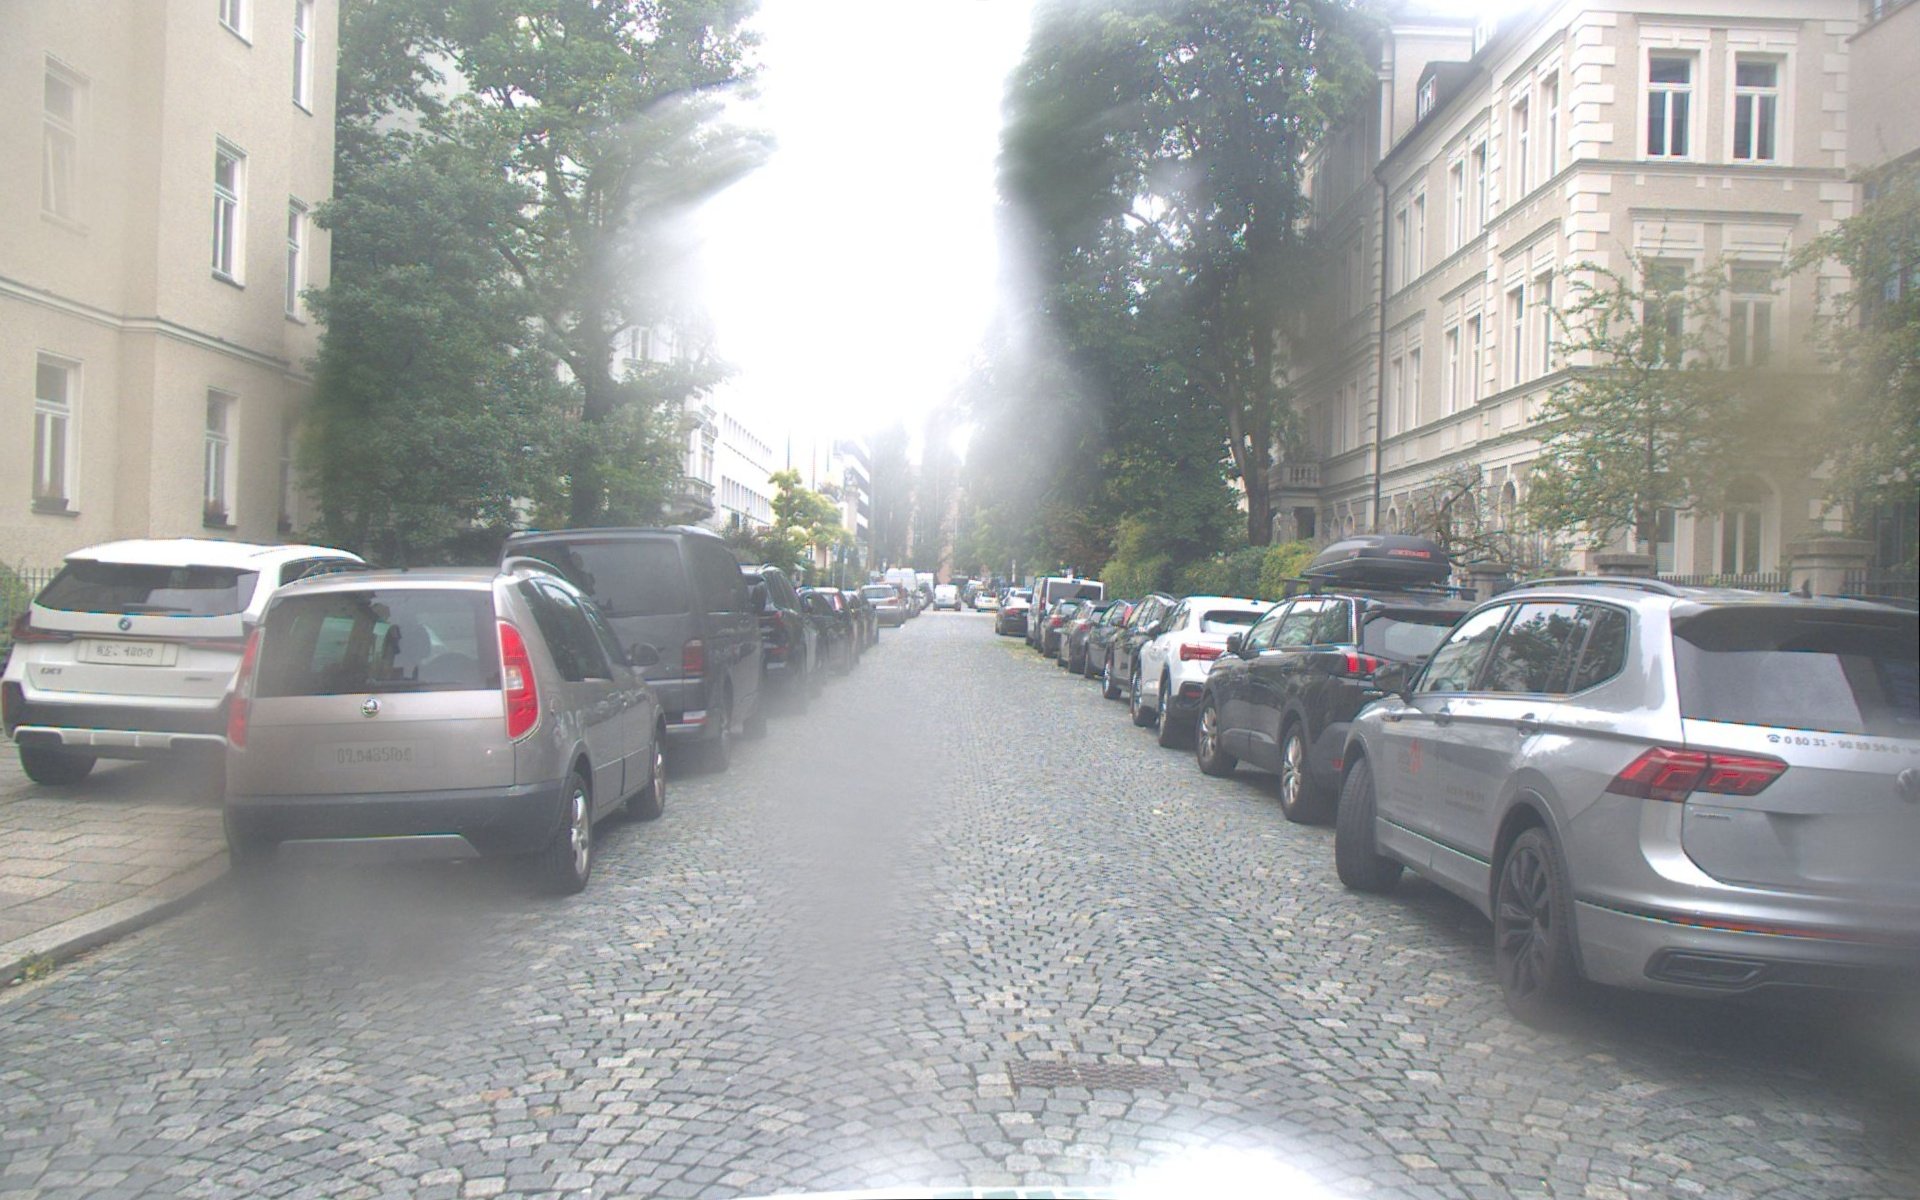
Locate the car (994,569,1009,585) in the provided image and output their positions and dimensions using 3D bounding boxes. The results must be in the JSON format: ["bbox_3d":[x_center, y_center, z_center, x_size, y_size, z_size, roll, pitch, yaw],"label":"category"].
[{"bbox_3d":[5.591,-3.071,222.606,1.953,2.049,4.000,2,0,0],"label":"car"}]

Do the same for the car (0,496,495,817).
[{"bbox_3d":[-5.029,0.311,12.100,1.906,1.765,4.656,5,0,-1],"label":"car"}]

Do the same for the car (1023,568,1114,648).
[{"bbox_3d":[2.944,0.187,45.853,1.836,1.961,5.162,4,0,-2],"label":"car"}]

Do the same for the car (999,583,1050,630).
[{"bbox_3d":[2.676,0.245,69.700,1.835,1.763,4.592,5,0,-1],"label":"car"}]

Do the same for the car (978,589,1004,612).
[{"bbox_3d":[2.212,0.037,119.699,1.753,1.547,4.000,2,0,0],"label":"car"}]

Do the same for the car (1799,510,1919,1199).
[{"bbox_3d":[3.322,0.756,2.195,1.836,1.764,4.658,6,0,-1],"label":"car"}]

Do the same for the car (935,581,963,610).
[{"bbox_3d":[-0.780,-0.329,118.897,1.953,2.049,4.000,2,0,0],"label":"car"}]

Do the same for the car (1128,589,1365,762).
[{"bbox_3d":[2.999,0.714,18.297,1.835,1.516,4.618,4,1,1],"label":"car"}]

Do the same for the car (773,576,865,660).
[{"bbox_3d":[-2.650,0.309,31.680,1.629,1.469,4.169,1,0,-3],"label":"car"}]

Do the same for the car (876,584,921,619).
[{"bbox_3d":[-3.066,0.080,83.567,1.834,1.607,4.209,4,0,3],"label":"car"}]

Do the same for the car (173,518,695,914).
[{"bbox_3d":[-2.725,0.498,9.691,1.828,1.765,4.401,-1,1,-3],"label":"car"}]

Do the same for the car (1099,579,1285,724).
[{"bbox_3d":[3.138,0.637,23.276,1.835,1.698,4.657,4,0,0],"label":"car"}]

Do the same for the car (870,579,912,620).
[{"bbox_3d":[-3.226,-0.045,78.098,1.835,1.807,4.121,-2,0,-1],"label":"car"}]

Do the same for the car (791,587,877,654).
[{"bbox_3d":[-2.908,0.429,38.868,1.747,1.442,4.496,-1,1,-2],"label":"car"}]

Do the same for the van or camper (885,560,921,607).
[{"bbox_3d":[-3.363,-0.964,98.509,1.953,2.698,4.000,-1,0,0],"label":"van or camper"}]

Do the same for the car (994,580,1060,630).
[{"bbox_3d":[2.309,0.152,58.067,1.836,1.529,4.509,4,0,-2],"label":"car"}]

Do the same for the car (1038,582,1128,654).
[{"bbox_3d":[2.939,0.413,40.378,1.800,1.516,4.422,4,0,0],"label":"car"}]

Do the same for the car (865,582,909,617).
[{"bbox_3d":[-3.151,-0.057,71.820,1.835,1.476,4.206,0,0,-2],"label":"car"}]

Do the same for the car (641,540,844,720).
[{"bbox_3d":[-2.603,0.316,21.001,1.953,1.950,5.176,-2,0,-1],"label":"car"}]

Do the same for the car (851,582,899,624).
[{"bbox_3d":[-3.355,0.103,65.692,1.835,1.607,4.253,-1,0,-2],"label":"car"}]

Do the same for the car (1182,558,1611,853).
[{"bbox_3d":[3.176,0.671,13.165,1.836,1.764,4.745,5,0,-3],"label":"car"}]

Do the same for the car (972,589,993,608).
[{"bbox_3d":[1.902,-0.117,140.214,1.753,1.547,4.000,2,0,0],"label":"car"}]

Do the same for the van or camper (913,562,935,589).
[{"bbox_3d":[-3.946,-2.677,183.058,2.210,2.790,5.097,3,0,0],"label":"van or camper"}]

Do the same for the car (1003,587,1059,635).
[{"bbox_3d":[2.675,0.398,63.295,1.781,1.607,4.207,5,0,-1],"label":"car"}]

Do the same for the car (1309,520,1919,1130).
[{"bbox_3d":[3.006,0.697,7.384,1.835,1.765,4.892,4,0,1],"label":"car"}]

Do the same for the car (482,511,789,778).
[{"bbox_3d":[-2.640,0.307,14.593,1.835,1.950,4.826,0,0,-1],"label":"car"}]

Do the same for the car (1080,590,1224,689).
[{"bbox_3d":[3.266,0.635,28.889,1.661,1.465,4.058,4,0,-5],"label":"car"}]

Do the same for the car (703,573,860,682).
[{"bbox_3d":[-2.753,0.381,26.650,1.938,1.588,5.017,0,0,1],"label":"car"}]

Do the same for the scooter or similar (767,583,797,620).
[{"bbox_3d":[-7.301,0.033,68.059,0.922,1.467,2.656,2,0,0],"label":"scooter or similar"}]

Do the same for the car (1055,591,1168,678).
[{"bbox_3d":[2.975,0.640,33.276,1.679,1.498,4.267,4,0,-1],"label":"car"}]

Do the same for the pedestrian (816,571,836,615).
[{"bbox_3d":[-6.054,-0.315,74.735,0.776,1.950,0.758,3,0,-1],"label":"pedestrian"}]

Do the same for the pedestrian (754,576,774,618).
[{"bbox_3d":[-8.121,-0.138,68.557,0.703,1.717,0.695,2,0,-1],"label":"pedestrian"}]
